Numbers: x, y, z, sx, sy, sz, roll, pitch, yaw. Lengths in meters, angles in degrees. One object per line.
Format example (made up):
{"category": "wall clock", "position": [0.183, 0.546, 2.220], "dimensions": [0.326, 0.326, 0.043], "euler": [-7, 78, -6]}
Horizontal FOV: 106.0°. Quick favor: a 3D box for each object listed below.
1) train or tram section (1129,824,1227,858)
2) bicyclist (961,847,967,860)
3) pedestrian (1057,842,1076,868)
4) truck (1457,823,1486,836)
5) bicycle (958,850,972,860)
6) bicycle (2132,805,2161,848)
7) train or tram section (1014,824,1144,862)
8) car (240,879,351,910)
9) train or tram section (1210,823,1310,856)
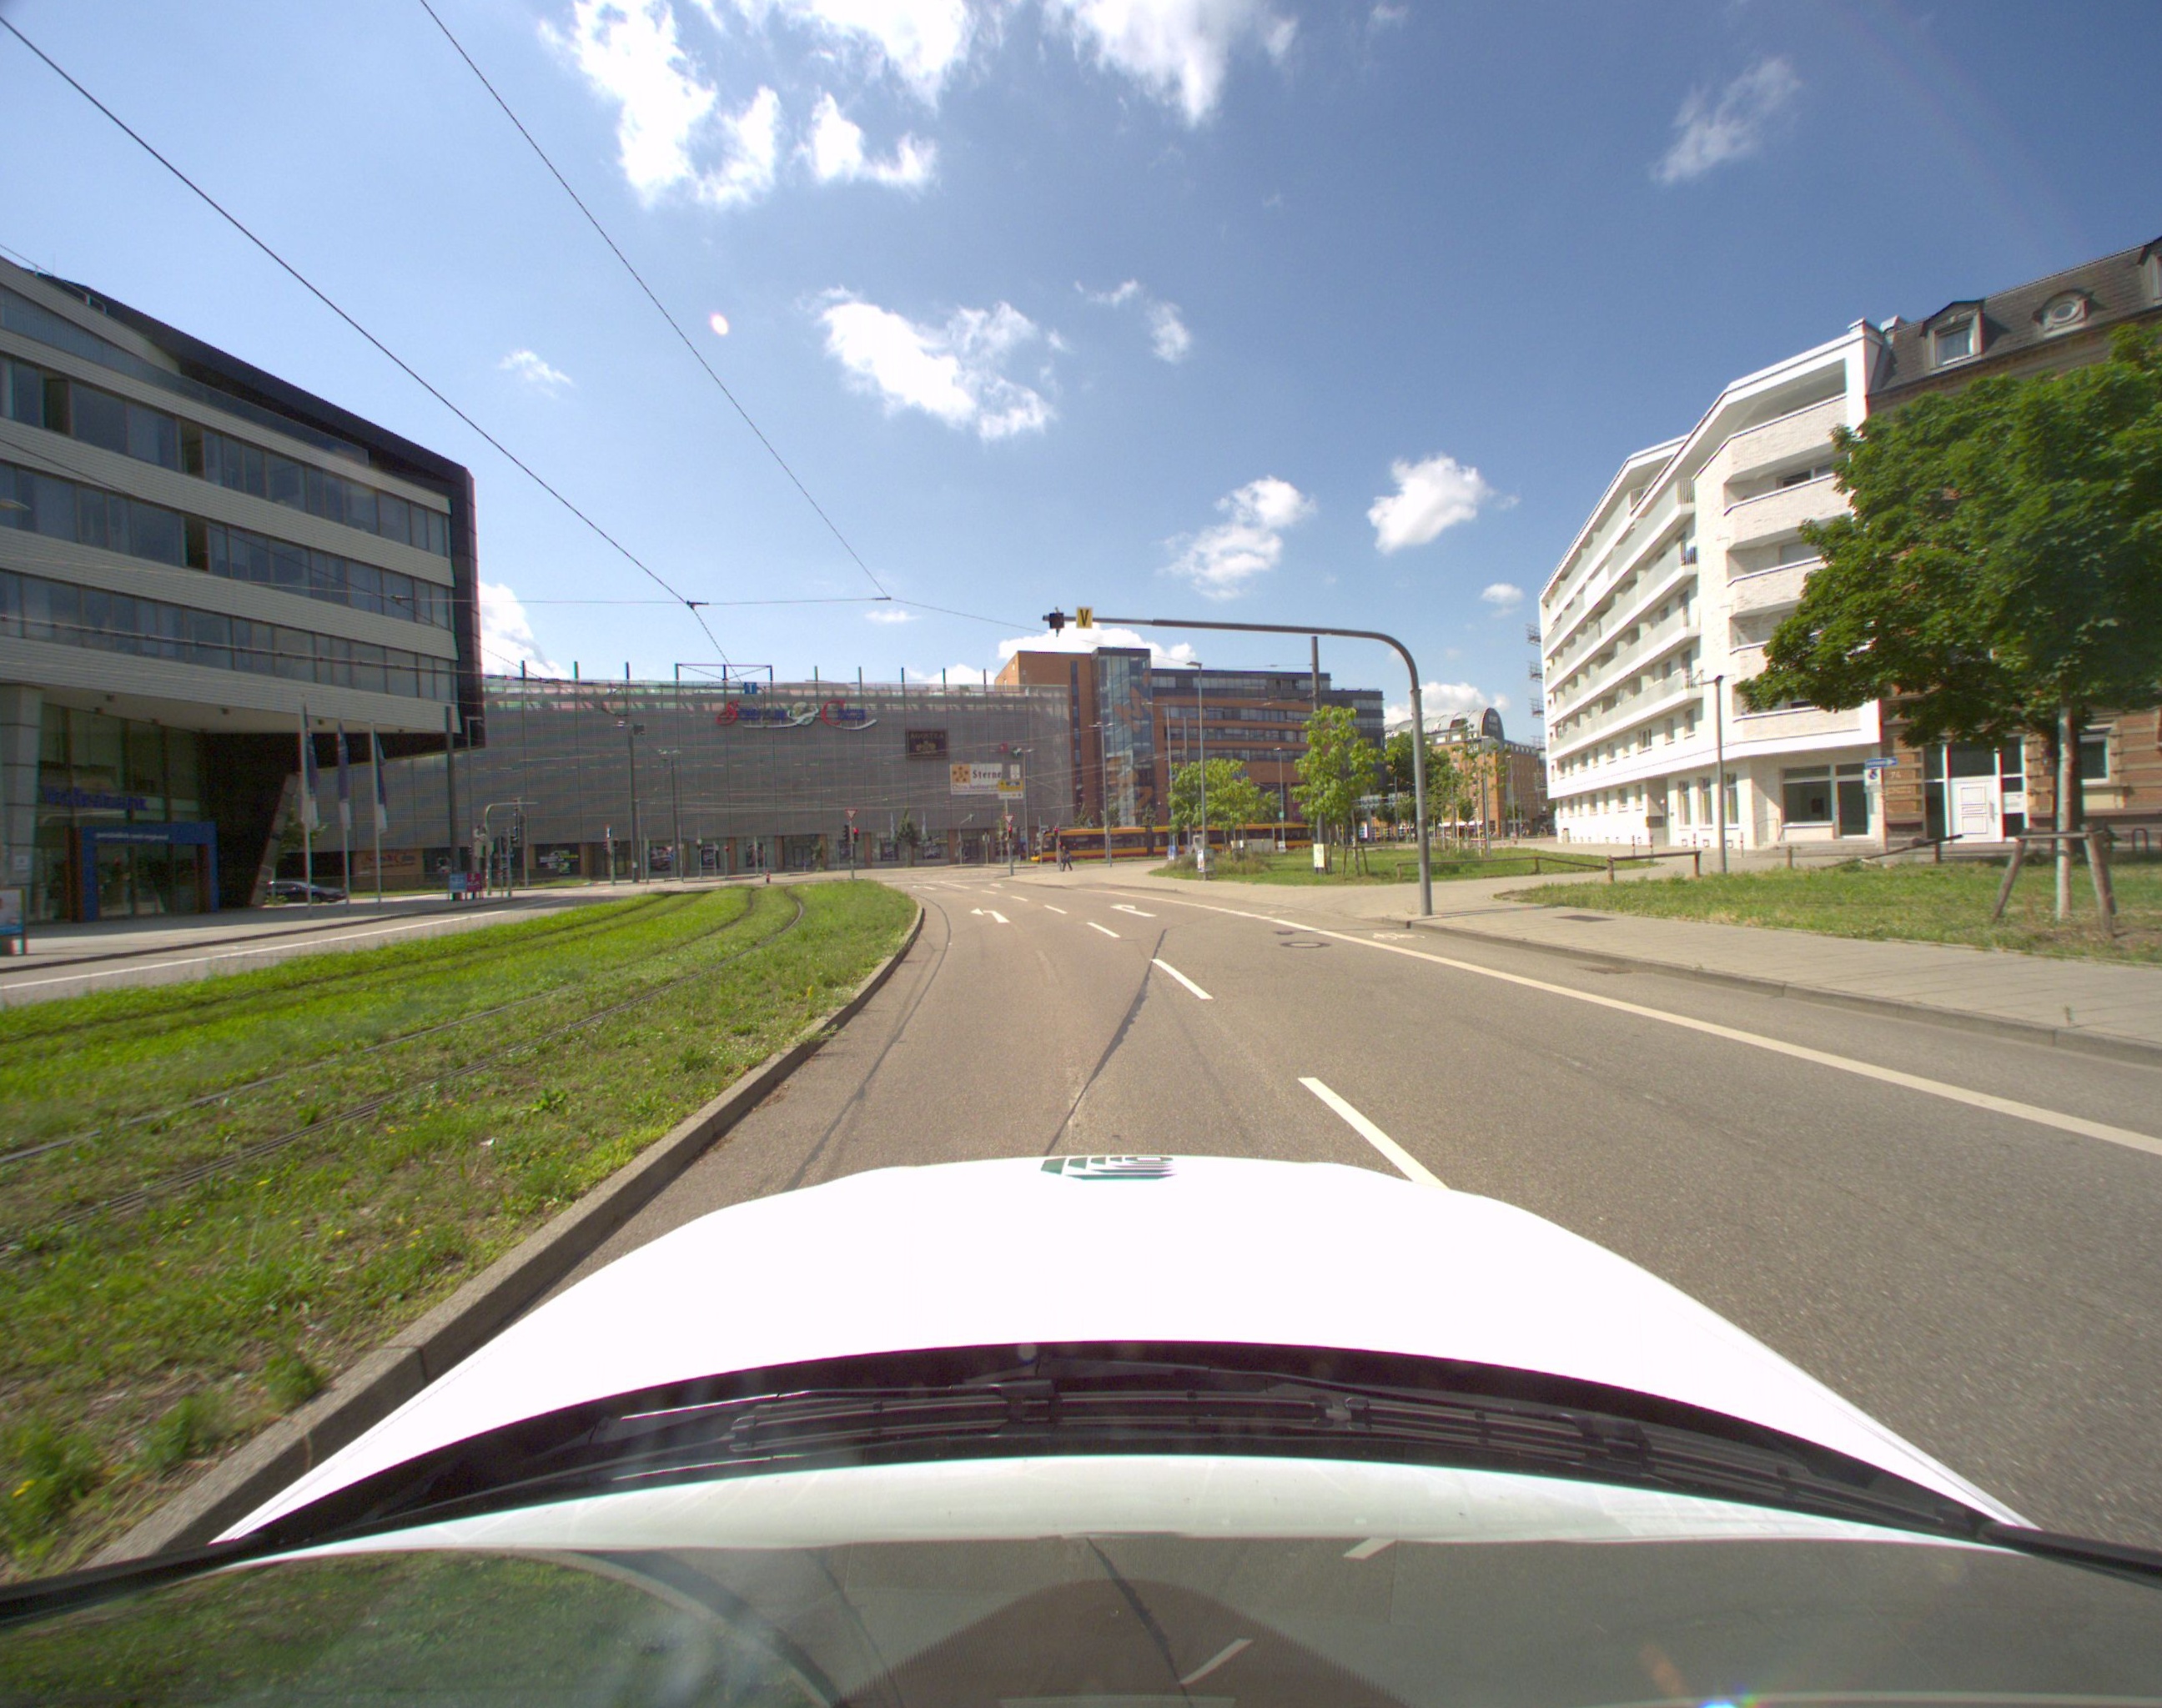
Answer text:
{"category": "train or tram section", "position": [10.842, -1.475, 90.198], "dimensions": [11.019, 3.603, 3.037], "euler": [-2, 0, -28]}
{"category": "bicyclist", "position": [-14.647, -0.045, 102.225], "dimensions": [0.664, 1.623, 0.548], "euler": [-1, 0, -16]}
{"category": "pedestrian", "position": [-0.982, 0.073, 54.798], "dimensions": [0.907, 1.702, 0.813], "euler": [-3, 0, 45]}
{"category": "truck", "position": [71.149, -4.438, 148.550], "dimensions": [1.994, 2.085, 5.504], "euler": [-1, 0, -10]}
{"category": "bicycle", "position": [-14.566, 0.162, 102.236], "dimensions": [1.764, 1.224, 0.581], "euler": [-1, 0, -17]}
{"category": "bicycle", "position": [25.408, -0.644, 18.573], "dimensions": [2.379, 0.969, 0.543], "euler": [-1, 0, -4]}
{"category": "train or tram section", "position": [-0.055, -1.191, 84.430], "dimensions": [13.531, 3.599, 3.198], "euler": [-2, 0, -28]}
{"category": "car", "position": [-44.916, 2.302, 46.657], "dimensions": [4.107, 1.469, 1.817], "euler": [-3, 1, -17]}
{"category": "train or tram section", "position": [21.184, -1.781, 95.946], "dimensions": [12.669, 3.621, 3.037], "euler": [-2, 0, -29]}
